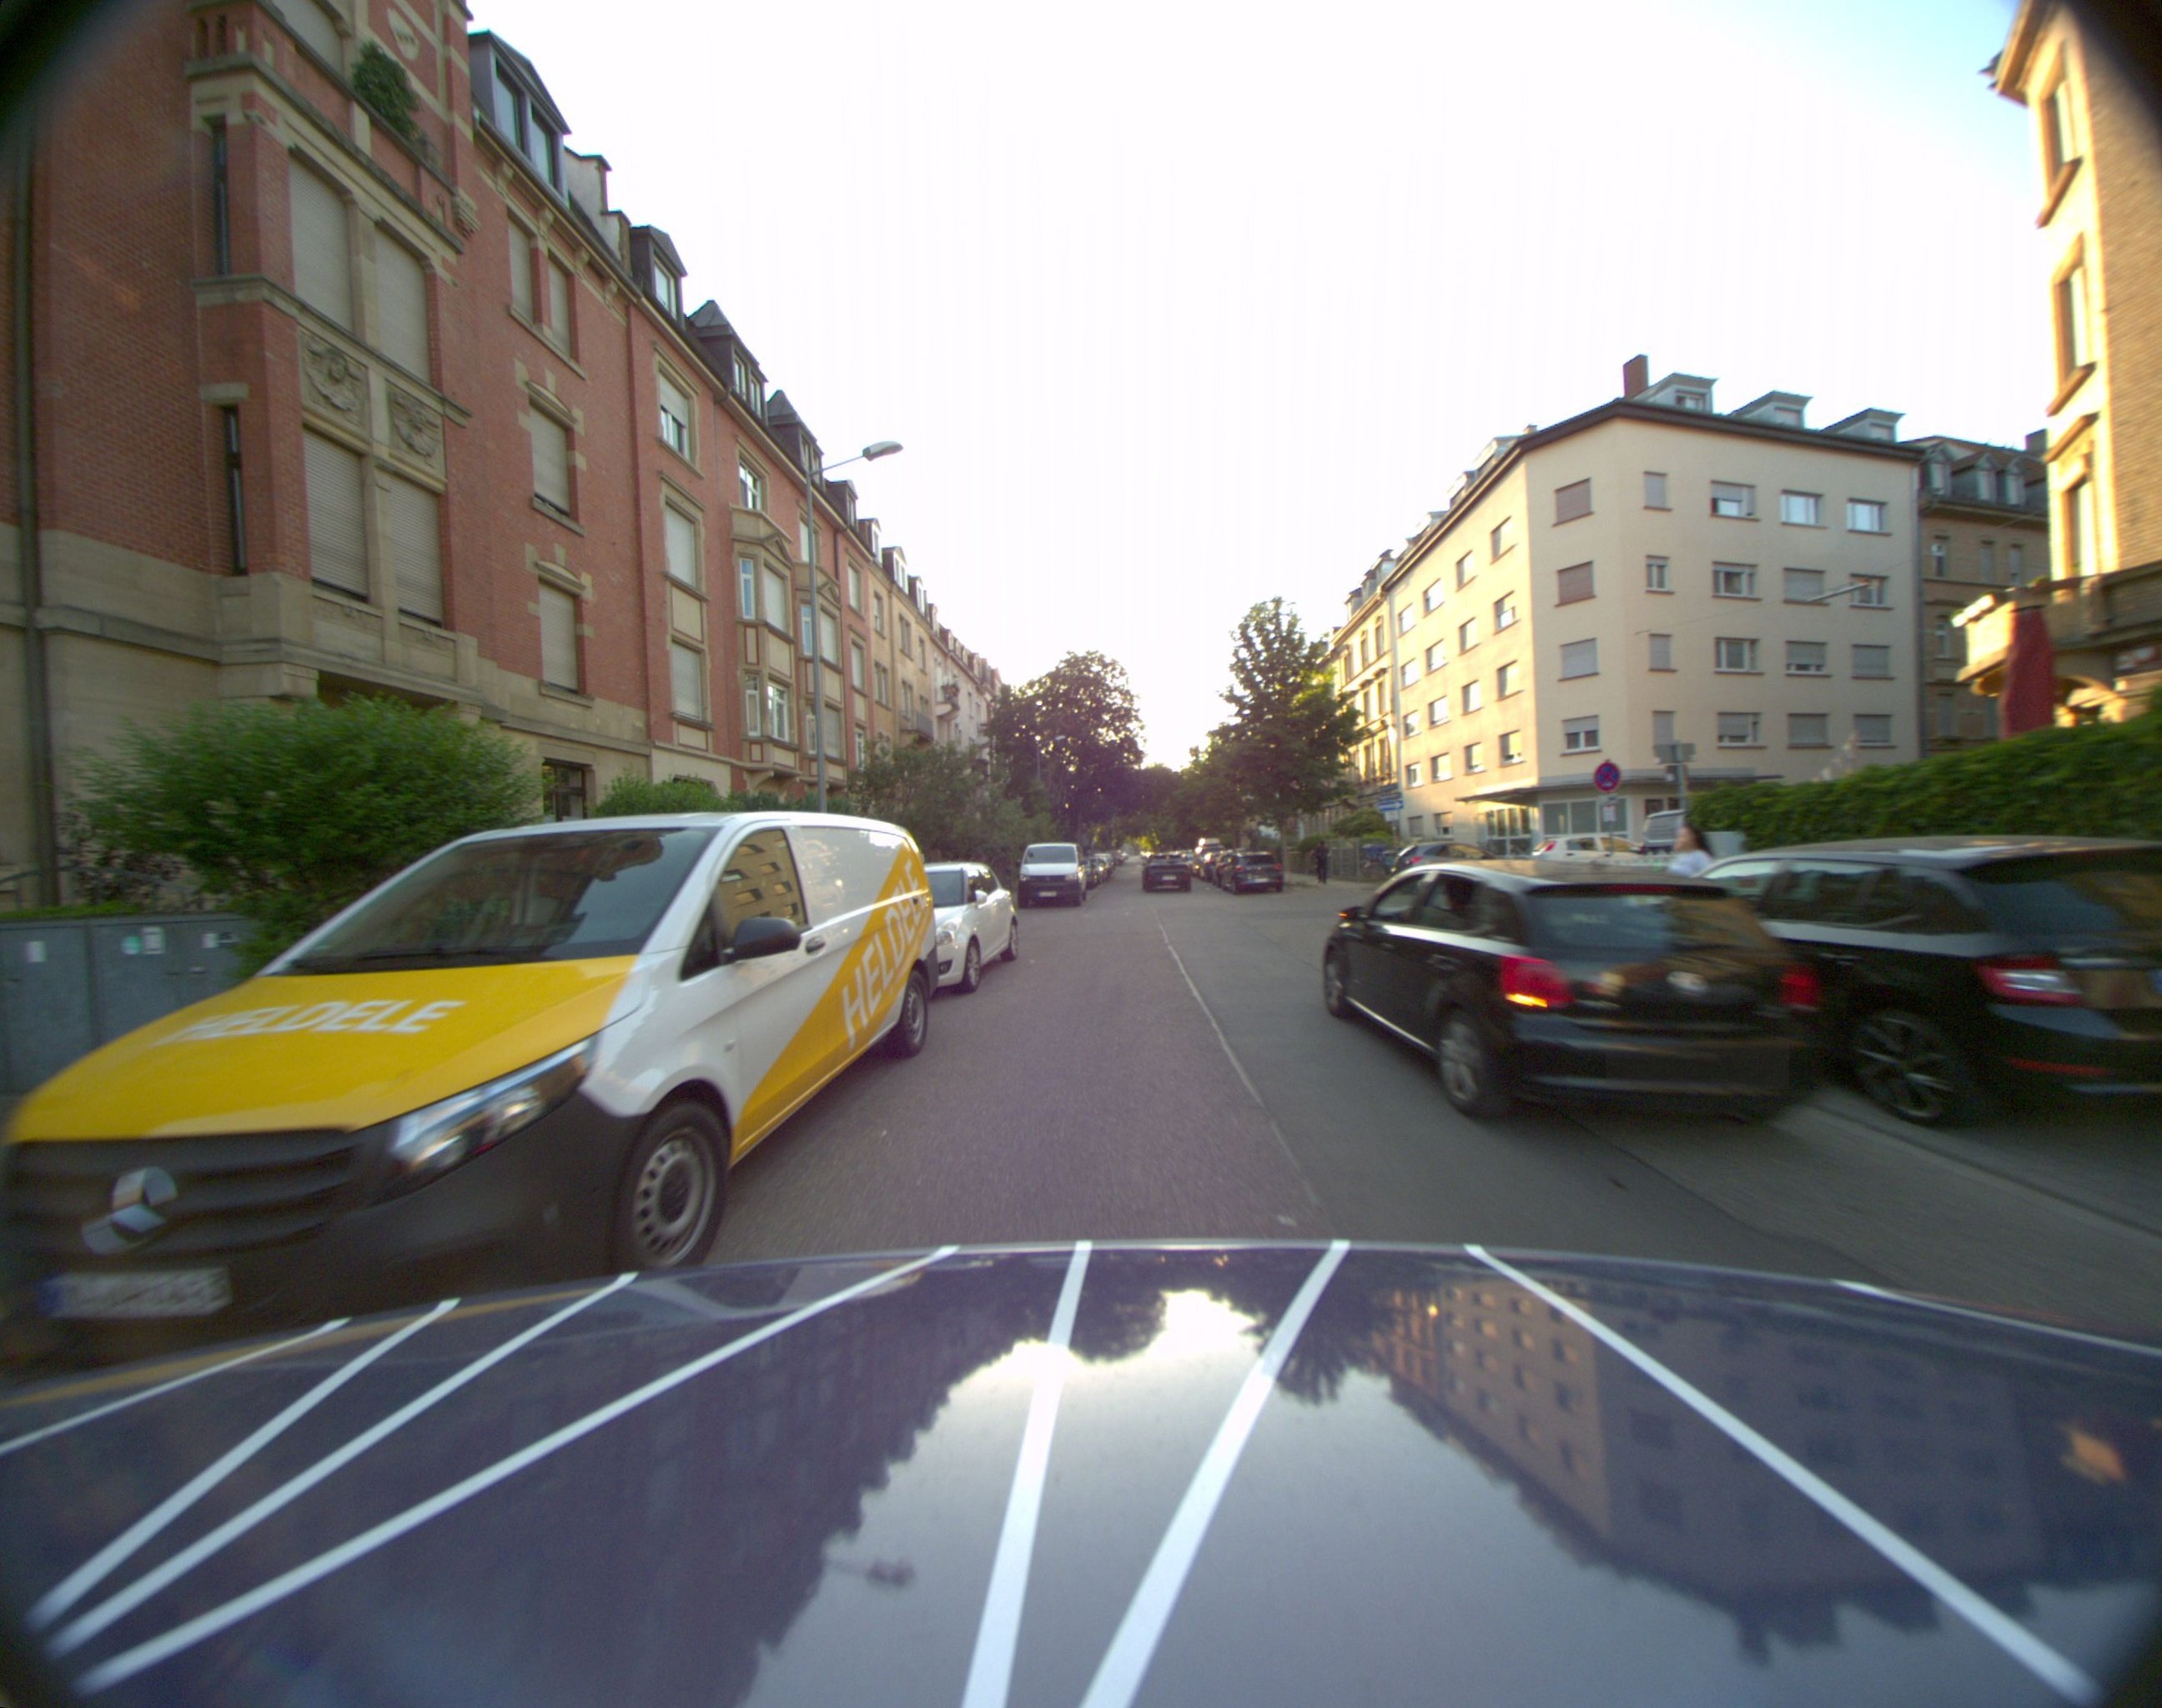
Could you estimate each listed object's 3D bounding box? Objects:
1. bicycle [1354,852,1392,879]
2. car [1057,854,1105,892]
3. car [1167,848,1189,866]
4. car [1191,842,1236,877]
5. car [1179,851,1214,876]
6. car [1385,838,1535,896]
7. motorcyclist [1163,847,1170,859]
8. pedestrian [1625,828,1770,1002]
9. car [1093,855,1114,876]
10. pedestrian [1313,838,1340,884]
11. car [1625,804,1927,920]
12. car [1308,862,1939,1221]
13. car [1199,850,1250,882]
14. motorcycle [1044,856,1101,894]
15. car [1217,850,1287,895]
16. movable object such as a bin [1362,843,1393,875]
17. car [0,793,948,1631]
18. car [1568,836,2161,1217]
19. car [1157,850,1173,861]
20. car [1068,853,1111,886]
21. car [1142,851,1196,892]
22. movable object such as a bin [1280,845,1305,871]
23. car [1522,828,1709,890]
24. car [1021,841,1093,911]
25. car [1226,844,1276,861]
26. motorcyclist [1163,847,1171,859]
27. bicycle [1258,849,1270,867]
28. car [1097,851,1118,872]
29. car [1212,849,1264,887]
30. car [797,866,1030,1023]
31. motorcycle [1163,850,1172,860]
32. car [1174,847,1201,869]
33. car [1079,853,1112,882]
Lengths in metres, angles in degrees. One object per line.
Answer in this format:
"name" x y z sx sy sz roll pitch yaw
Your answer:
"bicycle" 11.957 0.461 31.152 0.688 1.019 1.931 -4 0 -1
"car" 0.047 0.843 36.016 1.723 1.542 4.327 -3 0 6
"car" 9.560 0.296 75.027 1.677 1.627 3.941 -3 0 1
"car" 7.407 0.275 42.909 1.866 1.769 4.624 -3 0 3
"car" 7.441 0.559 49.172 1.732 1.433 4.025 -3 0 2
"car" 11.203 0.381 22.657 3.514 1.499 1.845 -3 0 3
"motorcyclist" 10.819 -0.151 96.356 0.788 1.531 0.546 0 1 14
"pedestrian" 6.090 0.577 7.549 0.786 1.609 0.712 -4 1 6
"car" 1.739 0.846 58.790 1.479 1.498 3.929 -3 0 2
"pedestrian" 9.506 0.250 29.400 0.889 1.712 0.960 -4 1 19
"car" 14.058 0.103 15.413 5.298 1.963 2.205 -3 0 -19
"car" 2.906 0.827 5.246 1.656 1.447 3.942 0 1 3
"car" 7.077 0.560 37.916 1.866 1.404 4.591 -3 0 3
"motorcycle" -0.371 0.857 31.965 2.098 1.474 1.131 -1 1 -29
"car" 6.200 0.616 27.968 1.678 1.453 4.464 -3 0 2
"movable object such as a bin" 13.191 0.226 33.870 0.868 1.344 1.399 -4 0 6
"car" -2.355 0.832 4.277 1.897 1.873 5.083 -3 0 4
"car" 5.230 0.703 5.041 1.707 1.525 3.845 -3 0 4
"car" 11.992 0.232 108.467 1.952 1.484 3.739 -3 0 4
"car" 0.501 0.794 41.252 1.760 1.573 4.843 -4 0 6
"car" 3.481 0.655 30.816 1.784 1.509 4.000 -1 1 1
"movable object such as a bin" 12.278 0.220 44.087 0.948 1.379 1.551 -4 0 1
"car" 15.729 0.147 22.631 4.065 1.500 1.976 -4 0 16
"car" -0.668 0.624 25.017 1.866 2.027 5.545 -1 0 3
"car" 16.066 -0.117 71.993 4.411 1.333 1.626 -3 1 5
"motorcyclist" 11.009 -0.143 97.125 0.891 1.496 0.970 0 1 14
"bicycle" 11.980 0.264 49.767 0.457 1.103 1.634 -4 0 5
"car" 2.423 0.661 68.788 1.736 1.692 4.169 -3 0 2
"car" 6.693 0.569 32.656 1.745 1.412 4.144 -3 0 6
"car" -1.891 0.981 9.834 1.678 1.468 3.863 -3 0 7
"motorcycle" 11.009 0.163 97.062 0.847 1.202 2.076 0 1 14
"car" 8.834 0.287 63.326 1.865 1.653 4.022 -3 0 5
"car" 0.919 0.777 45.733 1.589 1.516 3.603 -4 0 6
